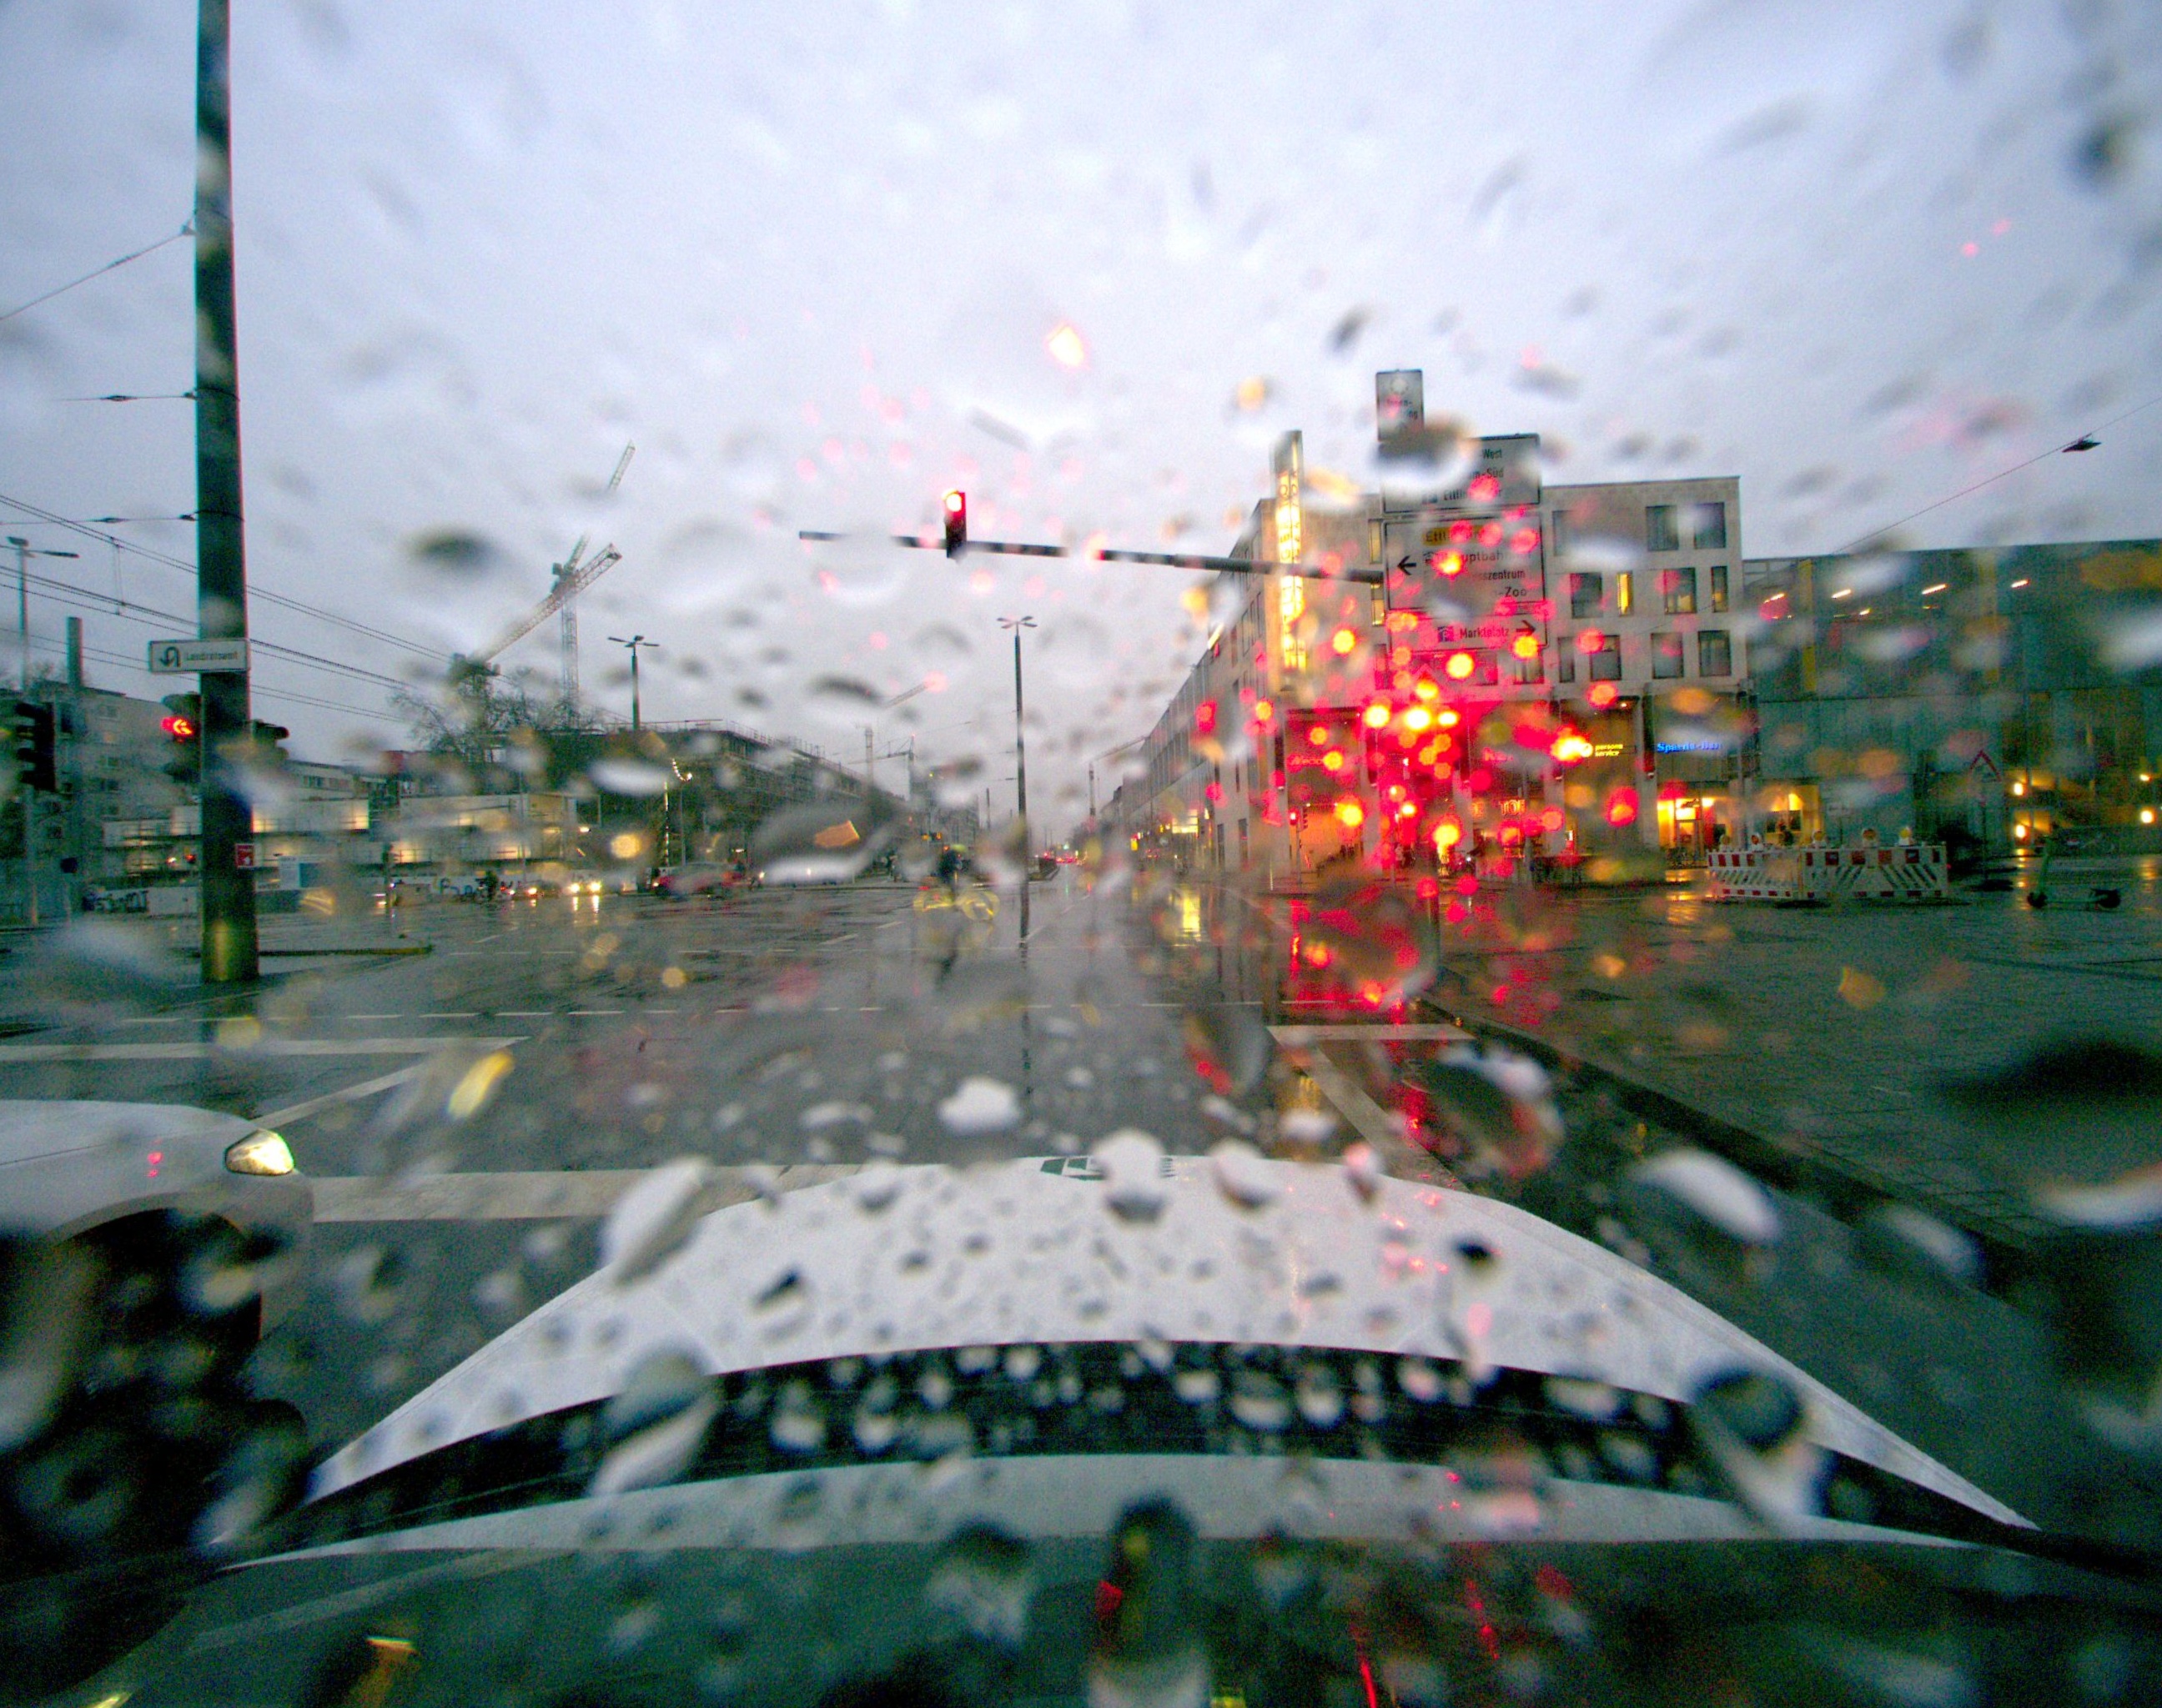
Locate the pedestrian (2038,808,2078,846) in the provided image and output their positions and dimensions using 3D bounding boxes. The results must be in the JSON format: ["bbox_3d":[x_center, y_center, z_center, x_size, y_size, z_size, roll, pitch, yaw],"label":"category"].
[{"bbox_3d":[53.043,-1.446,44.238,0.901,2.014,1.023,-1,-1,1],"label":"pedestrian"}]

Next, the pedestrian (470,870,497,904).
[{"bbox_3d":[-28.941,1.615,39.471,0.812,1.571,0.536,-2,-7,-1],"label":"pedestrian"}]

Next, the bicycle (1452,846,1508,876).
[{"bbox_3d":[15.392,0.272,31.443,1.831,1.093,0.620,-2,-1,16],"label":"bicycle"}]

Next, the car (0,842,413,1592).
[{"bbox_3d":[-3.182,0.764,0.194,1.903,1.520,4.923,-2,0,0],"label":"car"}]

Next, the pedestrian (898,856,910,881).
[{"bbox_3d":[-11.770,0.979,54.021,0.609,1.619,0.708,-2,-1,-3],"label":"pedestrian"}]

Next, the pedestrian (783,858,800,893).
[{"bbox_3d":[-17.073,1.285,48.025,0.792,2.013,0.745,-2,0,-9],"label":"pedestrian"}]

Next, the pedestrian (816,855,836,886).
[{"bbox_3d":[-14.585,0.940,46.520,0.823,1.679,0.623,-2,-1,28],"label":"pedestrian"}]

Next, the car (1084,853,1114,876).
[{"bbox_3d":[1.356,0.770,59.526,1.966,1.530,4.003,-2,0,3],"label":"car"}]

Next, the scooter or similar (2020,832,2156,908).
[{"bbox_3d":[15.904,0.242,12.898,0.603,1.130,1.236,-2,0,2],"label":"scooter or similar"}]

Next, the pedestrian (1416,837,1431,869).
[{"bbox_3d":[18.006,-0.057,42.864,0.530,1.685,0.552,-3,-1,39],"label":"pedestrian"}]

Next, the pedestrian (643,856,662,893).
[{"bbox_3d":[-23.832,1.135,45.281,0.781,2.013,0.606,-2,-1,-37],"label":"pedestrian"}]

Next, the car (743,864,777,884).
[{"bbox_3d":[-34.506,2.125,87.663,1.986,2.013,4.002,-2,0,2],"label":"car"}]

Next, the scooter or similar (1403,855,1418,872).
[{"bbox_3d":[20.004,0.579,49.458,0.738,0.993,0.401,-2,-1,3],"label":"scooter or similar"}]

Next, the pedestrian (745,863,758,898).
[{"bbox_3d":[-19.392,1.529,47.970,0.507,2.013,0.638,-2,0,-9],"label":"pedestrian"}]

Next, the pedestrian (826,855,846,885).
[{"bbox_3d":[-14.188,0.913,47.131,0.834,1.688,0.681,-2,-1,32],"label":"pedestrian"}]

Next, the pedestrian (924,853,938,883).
[{"bbox_3d":[-8.774,0.819,47.598,0.631,1.772,0.484,-2,-1,0],"label":"pedestrian"}]

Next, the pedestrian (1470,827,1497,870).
[{"bbox_3d":[15.532,-0.207,31.416,0.775,1.595,0.616,-2,-1,17],"label":"pedestrian"}]

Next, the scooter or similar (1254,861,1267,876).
[{"bbox_3d":[11.274,0.917,51.168,0.738,0.916,0.401,-2,-1,3],"label":"scooter or similar"}]

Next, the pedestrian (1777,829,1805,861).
[{"bbox_3d":[36.064,-0.457,41.381,0.791,1.631,0.709,-1,-1,1],"label":"pedestrian"}]

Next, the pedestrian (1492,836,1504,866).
[{"bbox_3d":[24.973,-0.164,48.776,0.510,1.760,0.375,-2,-1,3],"label":"pedestrian"}]

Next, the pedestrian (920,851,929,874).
[{"bbox_3d":[-12.227,0.669,63.696,0.660,1.746,0.619,-2,-1,-9],"label":"pedestrian"}]

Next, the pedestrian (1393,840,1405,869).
[{"bbox_3d":[19.228,0.046,49.240,0.530,1.718,0.505,-3,-1,39],"label":"pedestrian"}]

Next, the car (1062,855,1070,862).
[{"bbox_3d":[-4.047,1.230,222.981,1.986,2.014,4.001,-1,-1,2],"label":"car"}]

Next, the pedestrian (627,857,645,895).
[{"bbox_3d":[-24.307,1.200,44.499,0.691,2.087,0.606,-2,-1,-39],"label":"pedestrian"}]

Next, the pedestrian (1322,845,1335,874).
[{"bbox_3d":[15.015,0.341,49.403,0.530,1.718,0.505,-3,-1,39],"label":"pedestrian"}]

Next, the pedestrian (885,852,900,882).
[{"bbox_3d":[-11.252,0.787,48.670,0.701,1.760,0.652,-2,-1,-1],"label":"pedestrian"}]

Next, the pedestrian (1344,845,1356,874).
[{"bbox_3d":[16.295,0.327,49.347,0.530,1.718,0.505,-3,-1,39],"label":"pedestrian"}]

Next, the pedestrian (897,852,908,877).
[{"bbox_3d":[-12.716,0.726,57.964,0.610,1.746,0.620,-2,-1,-4],"label":"pedestrian"}]

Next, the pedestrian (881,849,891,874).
[{"bbox_3d":[-13.977,0.527,58.422,0.611,1.746,0.619,-2,-1,-9],"label":"pedestrian"}]

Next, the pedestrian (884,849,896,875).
[{"bbox_3d":[-12.930,0.523,55.159,0.660,1.746,0.733,-2,-1,-9],"label":"pedestrian"}]

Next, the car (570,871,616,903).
[{"bbox_3d":[-33.637,2.243,56.256,1.760,2.013,3.977,-2,0,-17],"label":"car"}]

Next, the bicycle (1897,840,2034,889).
[{"bbox_3d":[20.563,0.234,18.958,2.362,1.033,0.618,-2,-1,3],"label":"bicycle"}]

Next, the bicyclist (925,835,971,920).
[{"bbox_3d":[-2.931,0.505,18.025,0.993,1.839,0.719,0,-1,-8],"label":"bicyclist"}]

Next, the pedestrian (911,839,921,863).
[{"bbox_3d":[-11.876,-0.205,58.670,0.617,1.746,0.612,-2,-1,-4],"label":"pedestrian"}]

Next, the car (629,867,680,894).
[{"bbox_3d":[-34.410,2.086,65.776,1.988,2.013,3.998,-2,0,-1],"label":"car"}]

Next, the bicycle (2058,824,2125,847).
[{"bbox_3d":[48.370,-0.885,39.033,0.613,1.033,2.138,-2,0,3],"label":"bicycle"}]

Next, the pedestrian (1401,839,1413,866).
[{"bbox_3d":[21.050,-0.093,52.537,0.530,1.718,0.505,-3,-1,39],"label":"pedestrian"}]

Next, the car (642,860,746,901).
[{"bbox_3d":[-16.405,1.104,34.637,3.555,1.582,1.677,-2,-1,2],"label":"car"}]

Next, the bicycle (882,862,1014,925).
[{"bbox_3d":[-2.915,0.853,18.008,2.829,1.362,0.719,0,-1,-8],"label":"bicycle"}]

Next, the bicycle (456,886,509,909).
[{"bbox_3d":[-28.943,2.103,39.406,2.122,0.992,0.541,-3,-6,-2],"label":"bicycle"}]

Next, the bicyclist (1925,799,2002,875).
[{"bbox_3d":[20.538,-0.386,18.971,1.028,1.697,0.618,-2,-1,4],"label":"bicyclist"}]
